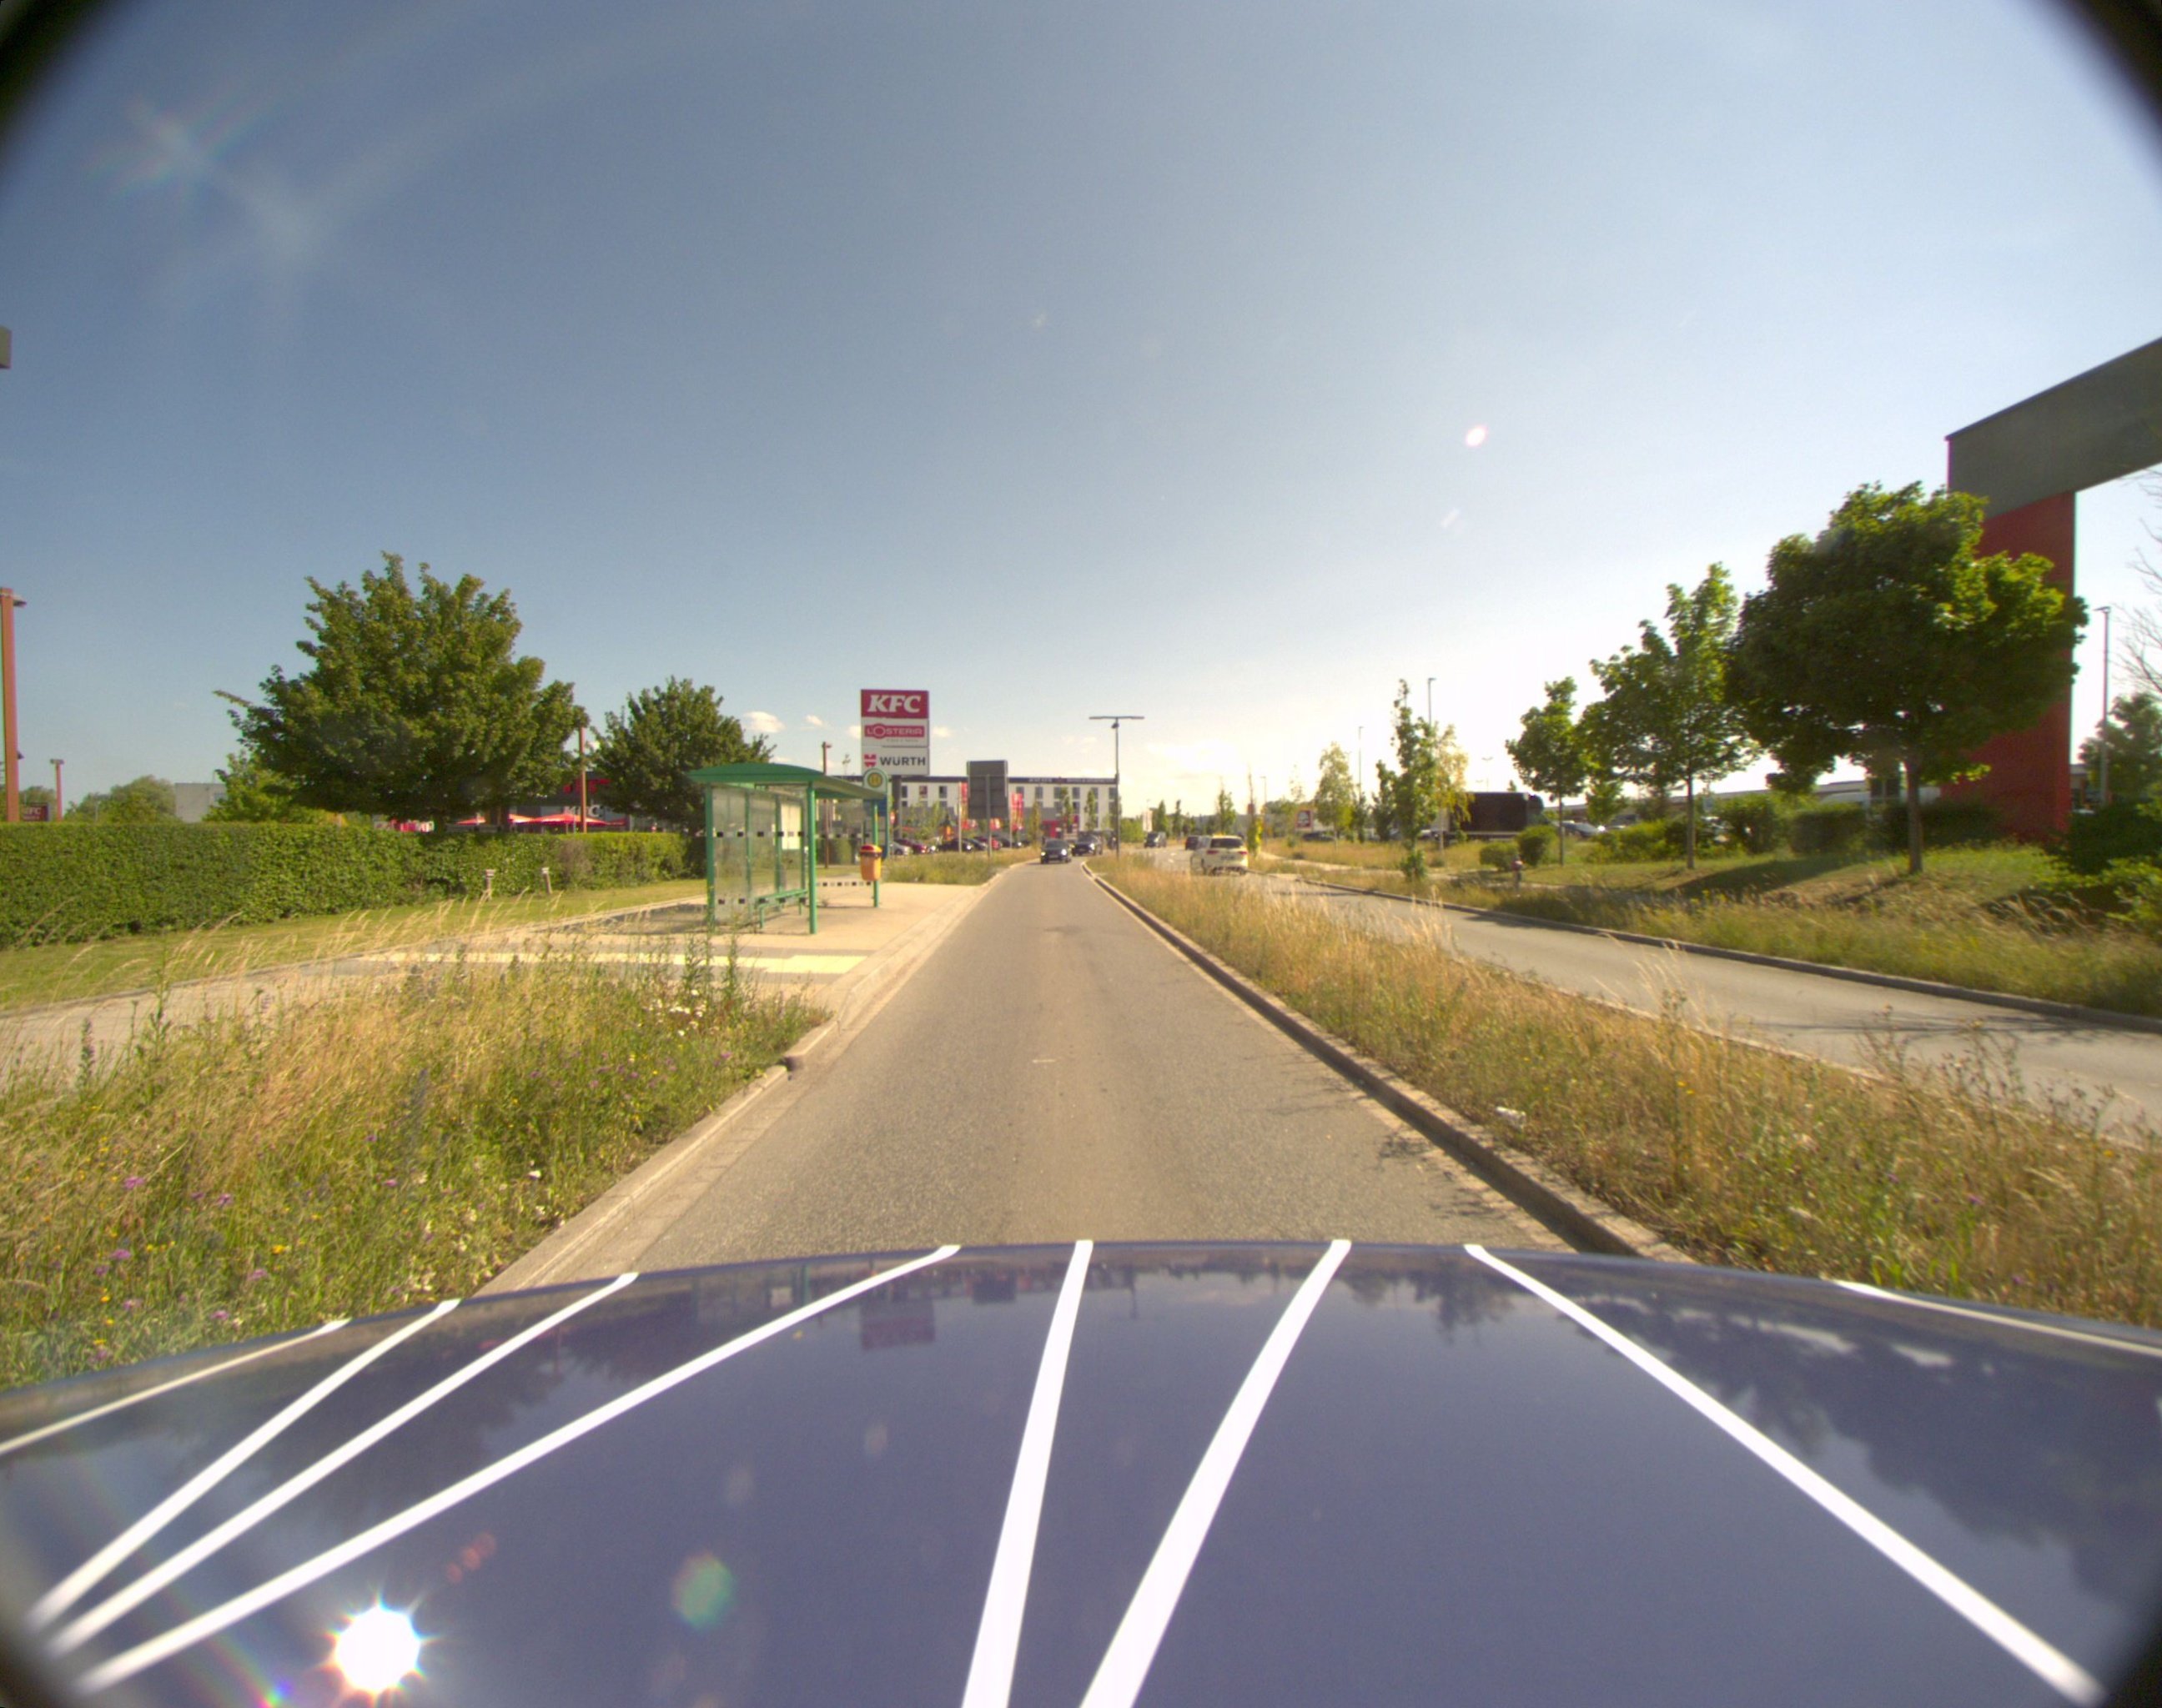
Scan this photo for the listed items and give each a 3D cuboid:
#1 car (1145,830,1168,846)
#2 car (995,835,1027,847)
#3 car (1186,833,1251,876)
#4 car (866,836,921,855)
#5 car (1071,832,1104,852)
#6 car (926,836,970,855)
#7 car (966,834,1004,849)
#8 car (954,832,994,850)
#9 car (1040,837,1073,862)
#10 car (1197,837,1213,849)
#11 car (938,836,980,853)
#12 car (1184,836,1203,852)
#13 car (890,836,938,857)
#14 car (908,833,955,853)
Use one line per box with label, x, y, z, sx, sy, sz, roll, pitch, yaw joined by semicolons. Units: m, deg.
car;9.599;-2.008;96.588;2.076;2.037;4.688;0;1;16
car;-9.026;-1.672;98.039;3.818;1.610;1.758;0;1;11
car;5.754;-0.026;32.217;1.862;1.705;4.155;0;1;-2
car;-17.256;-0.785;70.011;4.438;1.643;1.933;0;1;4
car;0.607;-1.020;63.538;1.959;1.653;4.686;0;1;11
car;-14.243;-0.887;81.186;4.180;2.002;1.935;0;1;12
car;-11.605;-1.489;91.643;4.179;1.752;1.825;0;1;15
car;-12.442;-1.484;88.713;4.180;2.002;1.934;0;1;10
car;-1.455;-0.265;46.027;1.862;1.460;4.000;-1;0;0
car;17.566;-1.616;107.763;1.996;1.674;4.003;0;1;13
car;-13.439;-1.005;83.793;4.179;1.847;1.805;0;1;16
car;12.106;-1.076;81.925;1.997;1.609;4.001;0;1;7
car;-16.385;-0.703;74.664;4.179;2.002;1.935;0;1;13
car;-15.266;-1.136;77.668;4.180;2.002;1.935;0;1;12
